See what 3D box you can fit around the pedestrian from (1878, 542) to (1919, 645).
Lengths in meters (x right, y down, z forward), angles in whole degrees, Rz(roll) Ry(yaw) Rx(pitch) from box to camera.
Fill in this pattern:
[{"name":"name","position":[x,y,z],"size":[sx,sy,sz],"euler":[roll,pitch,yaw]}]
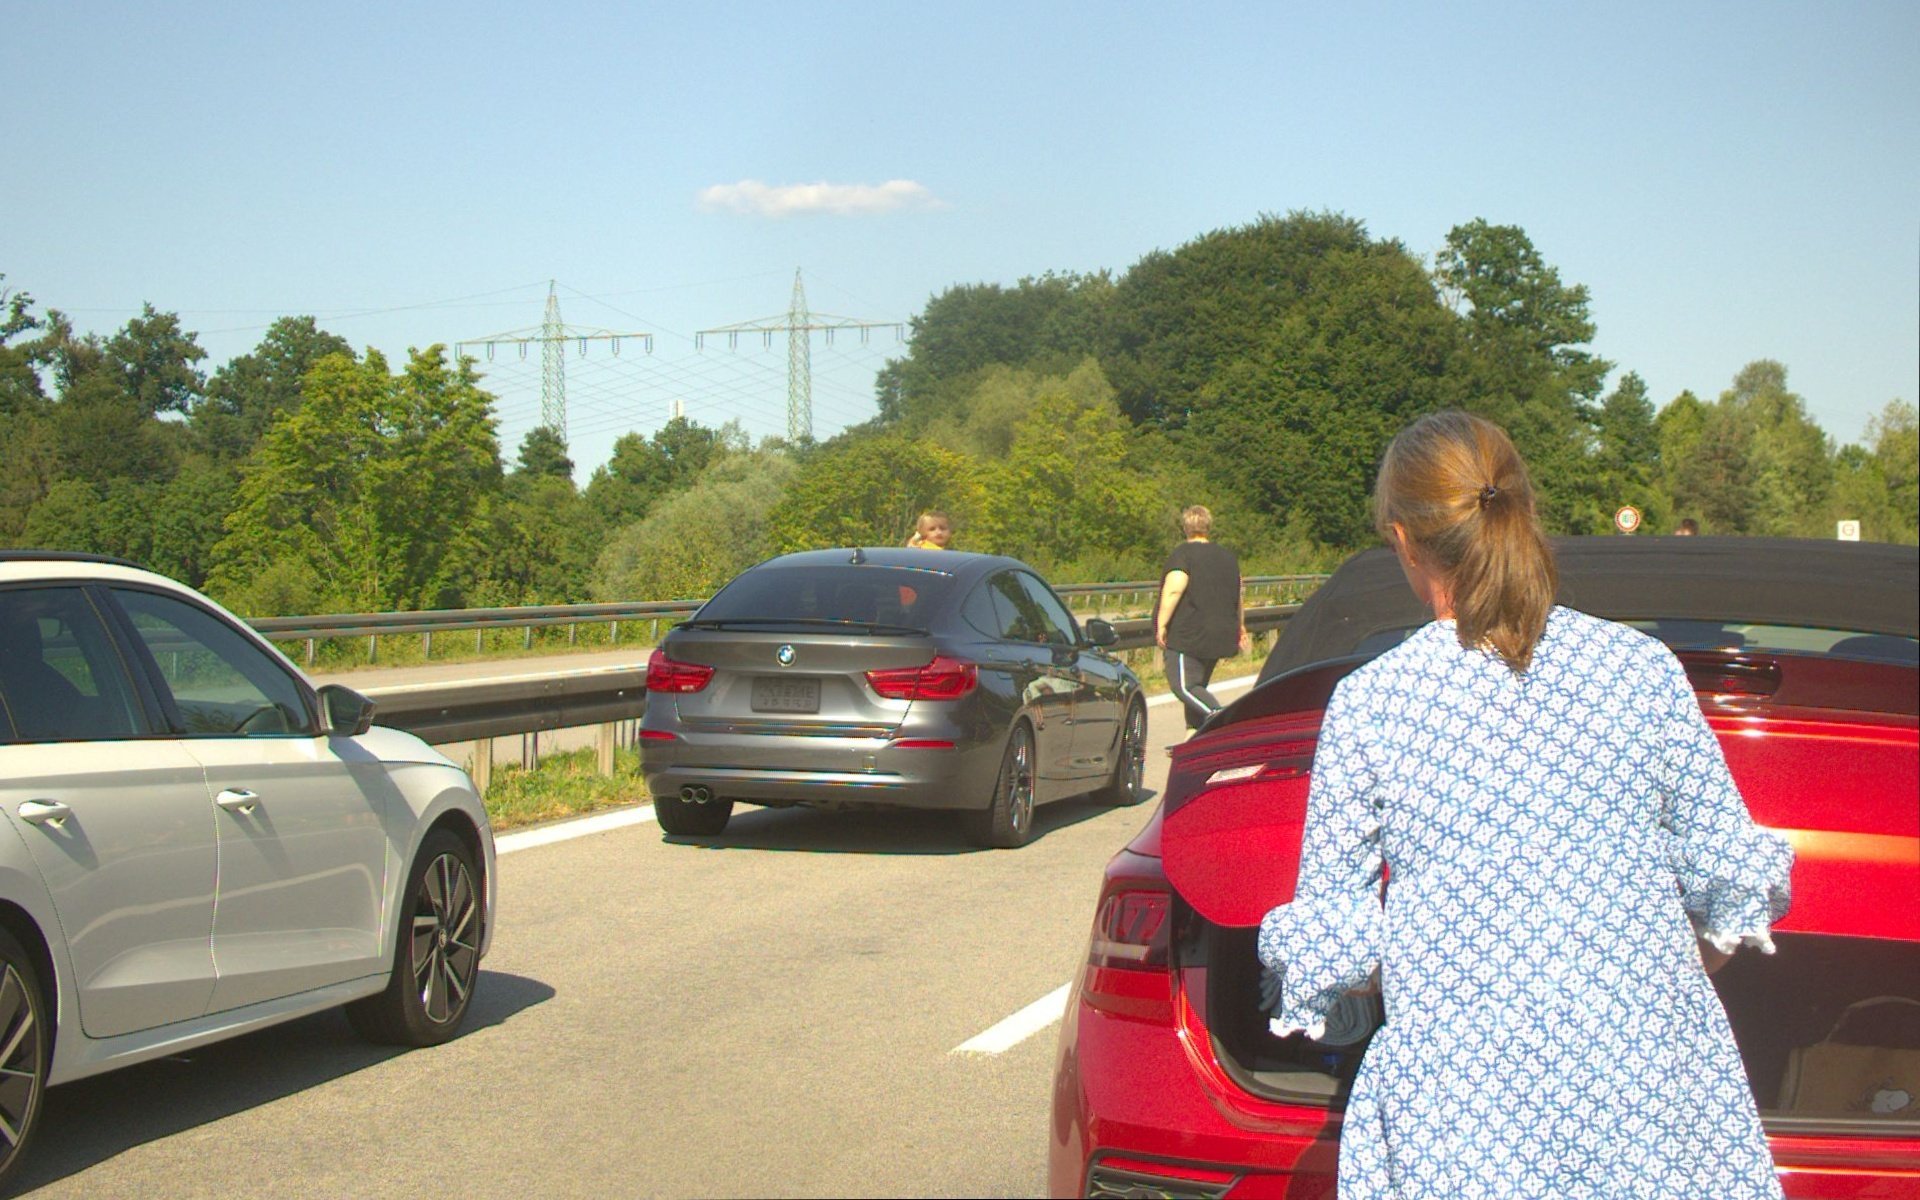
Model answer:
[{"name":"pedestrian","position":[15.862,-0.106,57.011],"size":[1.115,1.683,0.972],"euler":[1,1,21]}]

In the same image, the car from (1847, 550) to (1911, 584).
[{"name":"car","position":[41.507,-1.488,155.234],"size":[1.735,1.482,4.203],"euler":[2,1,30]}]

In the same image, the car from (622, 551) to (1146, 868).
[{"name":"car","position":[-0.256,0.473,18.156],"size":[1.696,1.421,4.331],"euler":[1,1,14]}]

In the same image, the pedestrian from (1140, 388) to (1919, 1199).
[{"name":"pedestrian","position":[0.696,0.616,3.999],"size":[0.839,1.677,0.743],"euler":[0,1,14]}]

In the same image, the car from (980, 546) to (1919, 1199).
[{"name":"car","position":[1.365,0.655,6.452],"size":[1.733,1.482,4.208],"euler":[1,1,14]}]

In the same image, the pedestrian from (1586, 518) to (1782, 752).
[{"name":"pedestrian","position":[5.665,0.264,26.958],"size":[1.087,1.782,1.108],"euler":[1,1,-14]}]

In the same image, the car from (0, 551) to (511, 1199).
[{"name":"car","position":[-2.701,0.612,8.678],"size":[1.696,1.436,4.208],"euler":[1,1,14]}]

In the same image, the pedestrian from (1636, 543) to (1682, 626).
[{"name":"pedestrian","position":[14.513,-0.321,71.383],"size":[0.792,1.683,0.791],"euler":[1,1,19]}]

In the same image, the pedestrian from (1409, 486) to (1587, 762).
[{"name":"pedestrian","position":[3.816,0.160,24.476],"size":[1.106,1.906,1.257],"euler":[-1,1,3]}]

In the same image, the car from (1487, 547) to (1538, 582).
[{"name":"car","position":[22.927,-1.481,142.565],"size":[1.696,1.421,4.302],"euler":[1,1,14]}]

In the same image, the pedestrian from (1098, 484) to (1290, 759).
[{"name":"pedestrian","position":[1.650,0.138,24.136],"size":[1.066,1.876,1.092],"euler":[0,1,21]}]

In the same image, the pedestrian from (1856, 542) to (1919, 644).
[{"name":"pedestrian","position":[15.829,-0.124,58.361],"size":[1.057,1.683,1.016],"euler":[1,1,21]}]

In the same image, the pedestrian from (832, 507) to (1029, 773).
[{"name":"pedestrian","position":[-0.189,0.258,23.358],"size":[1.041,1.757,1.117],"euler":[0,1,17]}]
